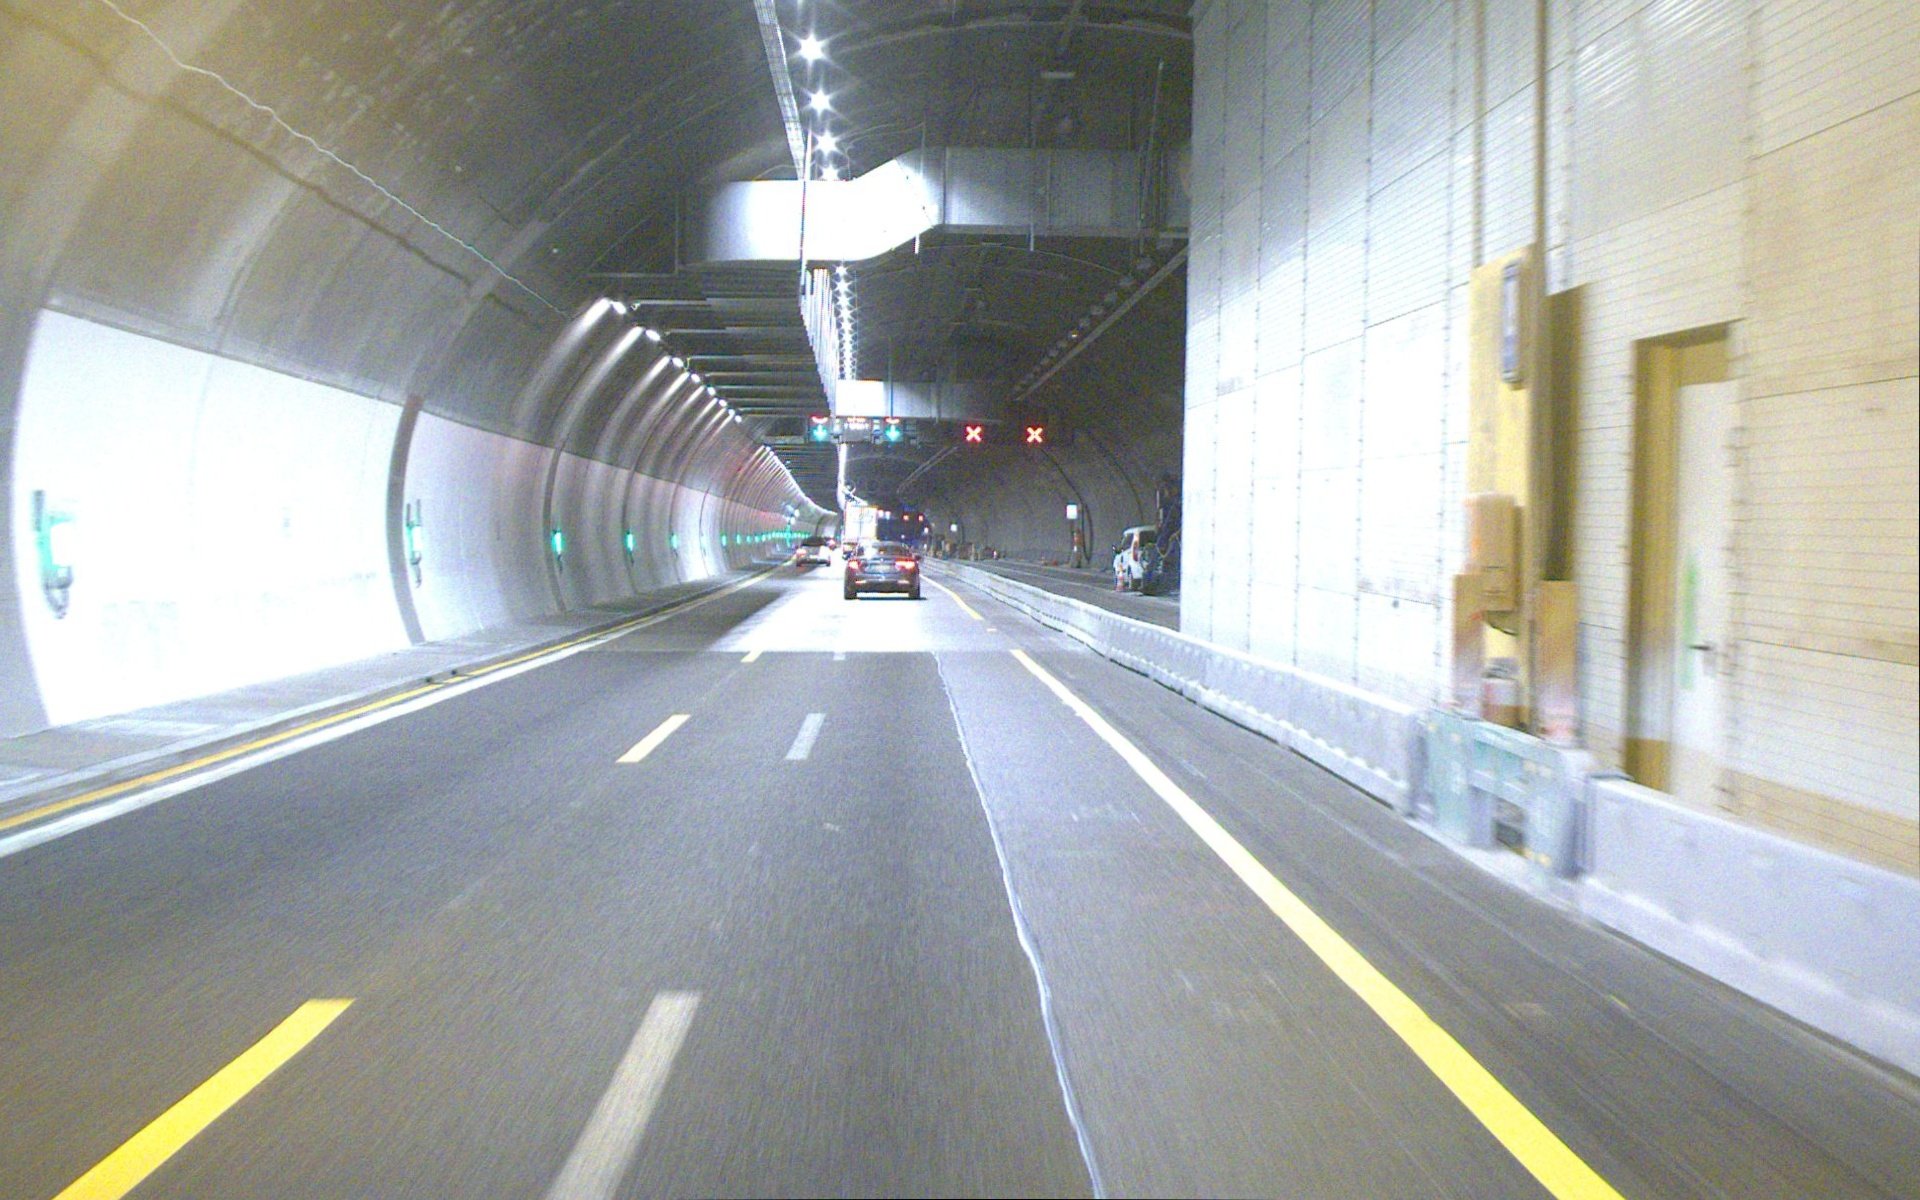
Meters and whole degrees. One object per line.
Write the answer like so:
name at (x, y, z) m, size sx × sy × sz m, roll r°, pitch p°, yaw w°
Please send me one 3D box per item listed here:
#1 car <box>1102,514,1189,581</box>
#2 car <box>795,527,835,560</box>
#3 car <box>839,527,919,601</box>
car at (5.309, -1.519, 98.916) m, size 1.750 × 1.839 × 4.647 m, roll -1°, pitch 1°, yaw -6°
car at (-7.512, -2.928, 178.652) m, size 1.930 × 1.681 × 4.000 m, roll 0°, pitch 1°, yaw -1°
car at (-2.020, -0.912, 85.873) m, size 1.946 × 1.788 × 4.000 m, roll 0°, pitch 1°, yaw -1°
